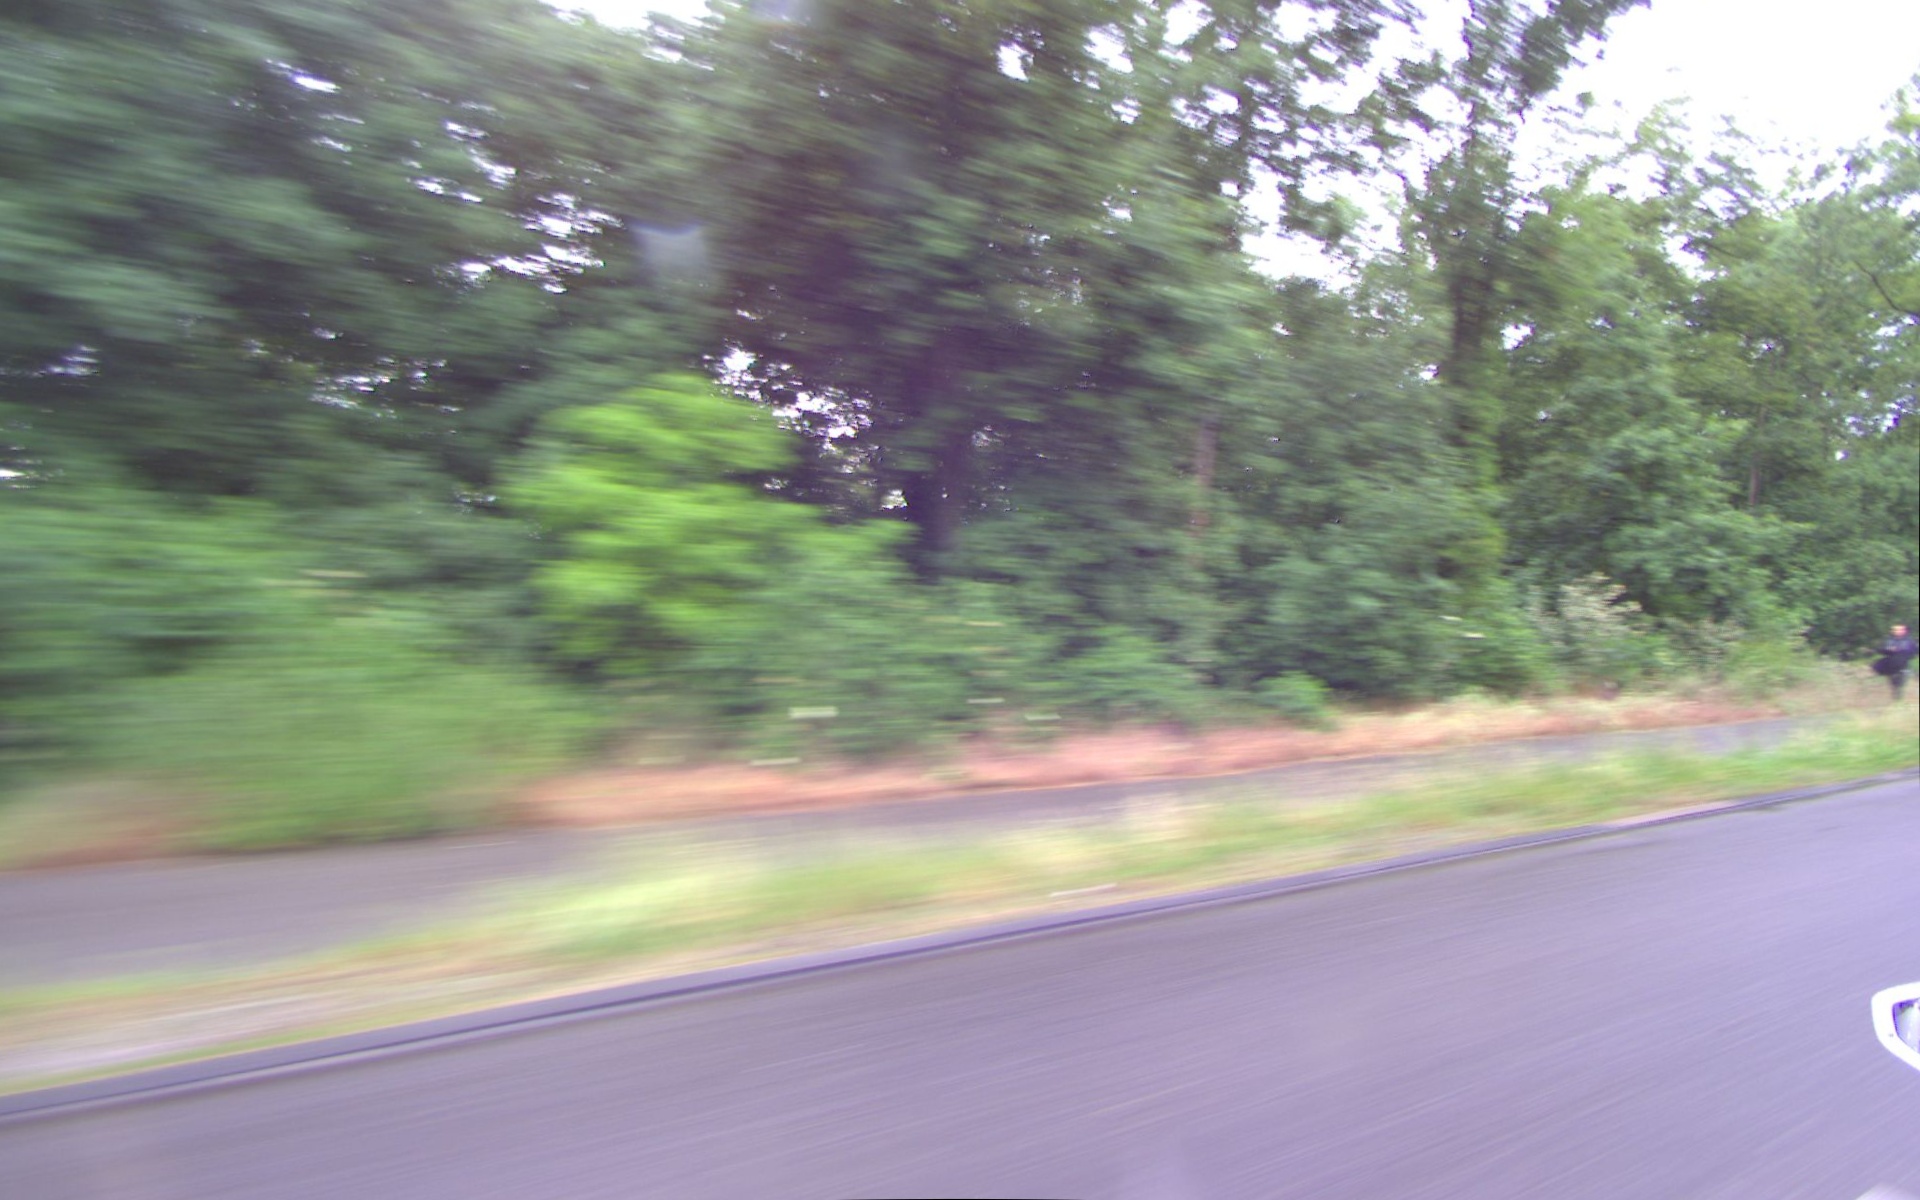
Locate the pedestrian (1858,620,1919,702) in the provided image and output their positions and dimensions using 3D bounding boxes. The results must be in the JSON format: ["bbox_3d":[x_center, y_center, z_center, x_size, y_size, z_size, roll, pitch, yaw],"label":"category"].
[{"bbox_3d":[19.236,1.246,20.805,0.724,1.629,0.777,1,0,-31],"label":"pedestrian"}]
